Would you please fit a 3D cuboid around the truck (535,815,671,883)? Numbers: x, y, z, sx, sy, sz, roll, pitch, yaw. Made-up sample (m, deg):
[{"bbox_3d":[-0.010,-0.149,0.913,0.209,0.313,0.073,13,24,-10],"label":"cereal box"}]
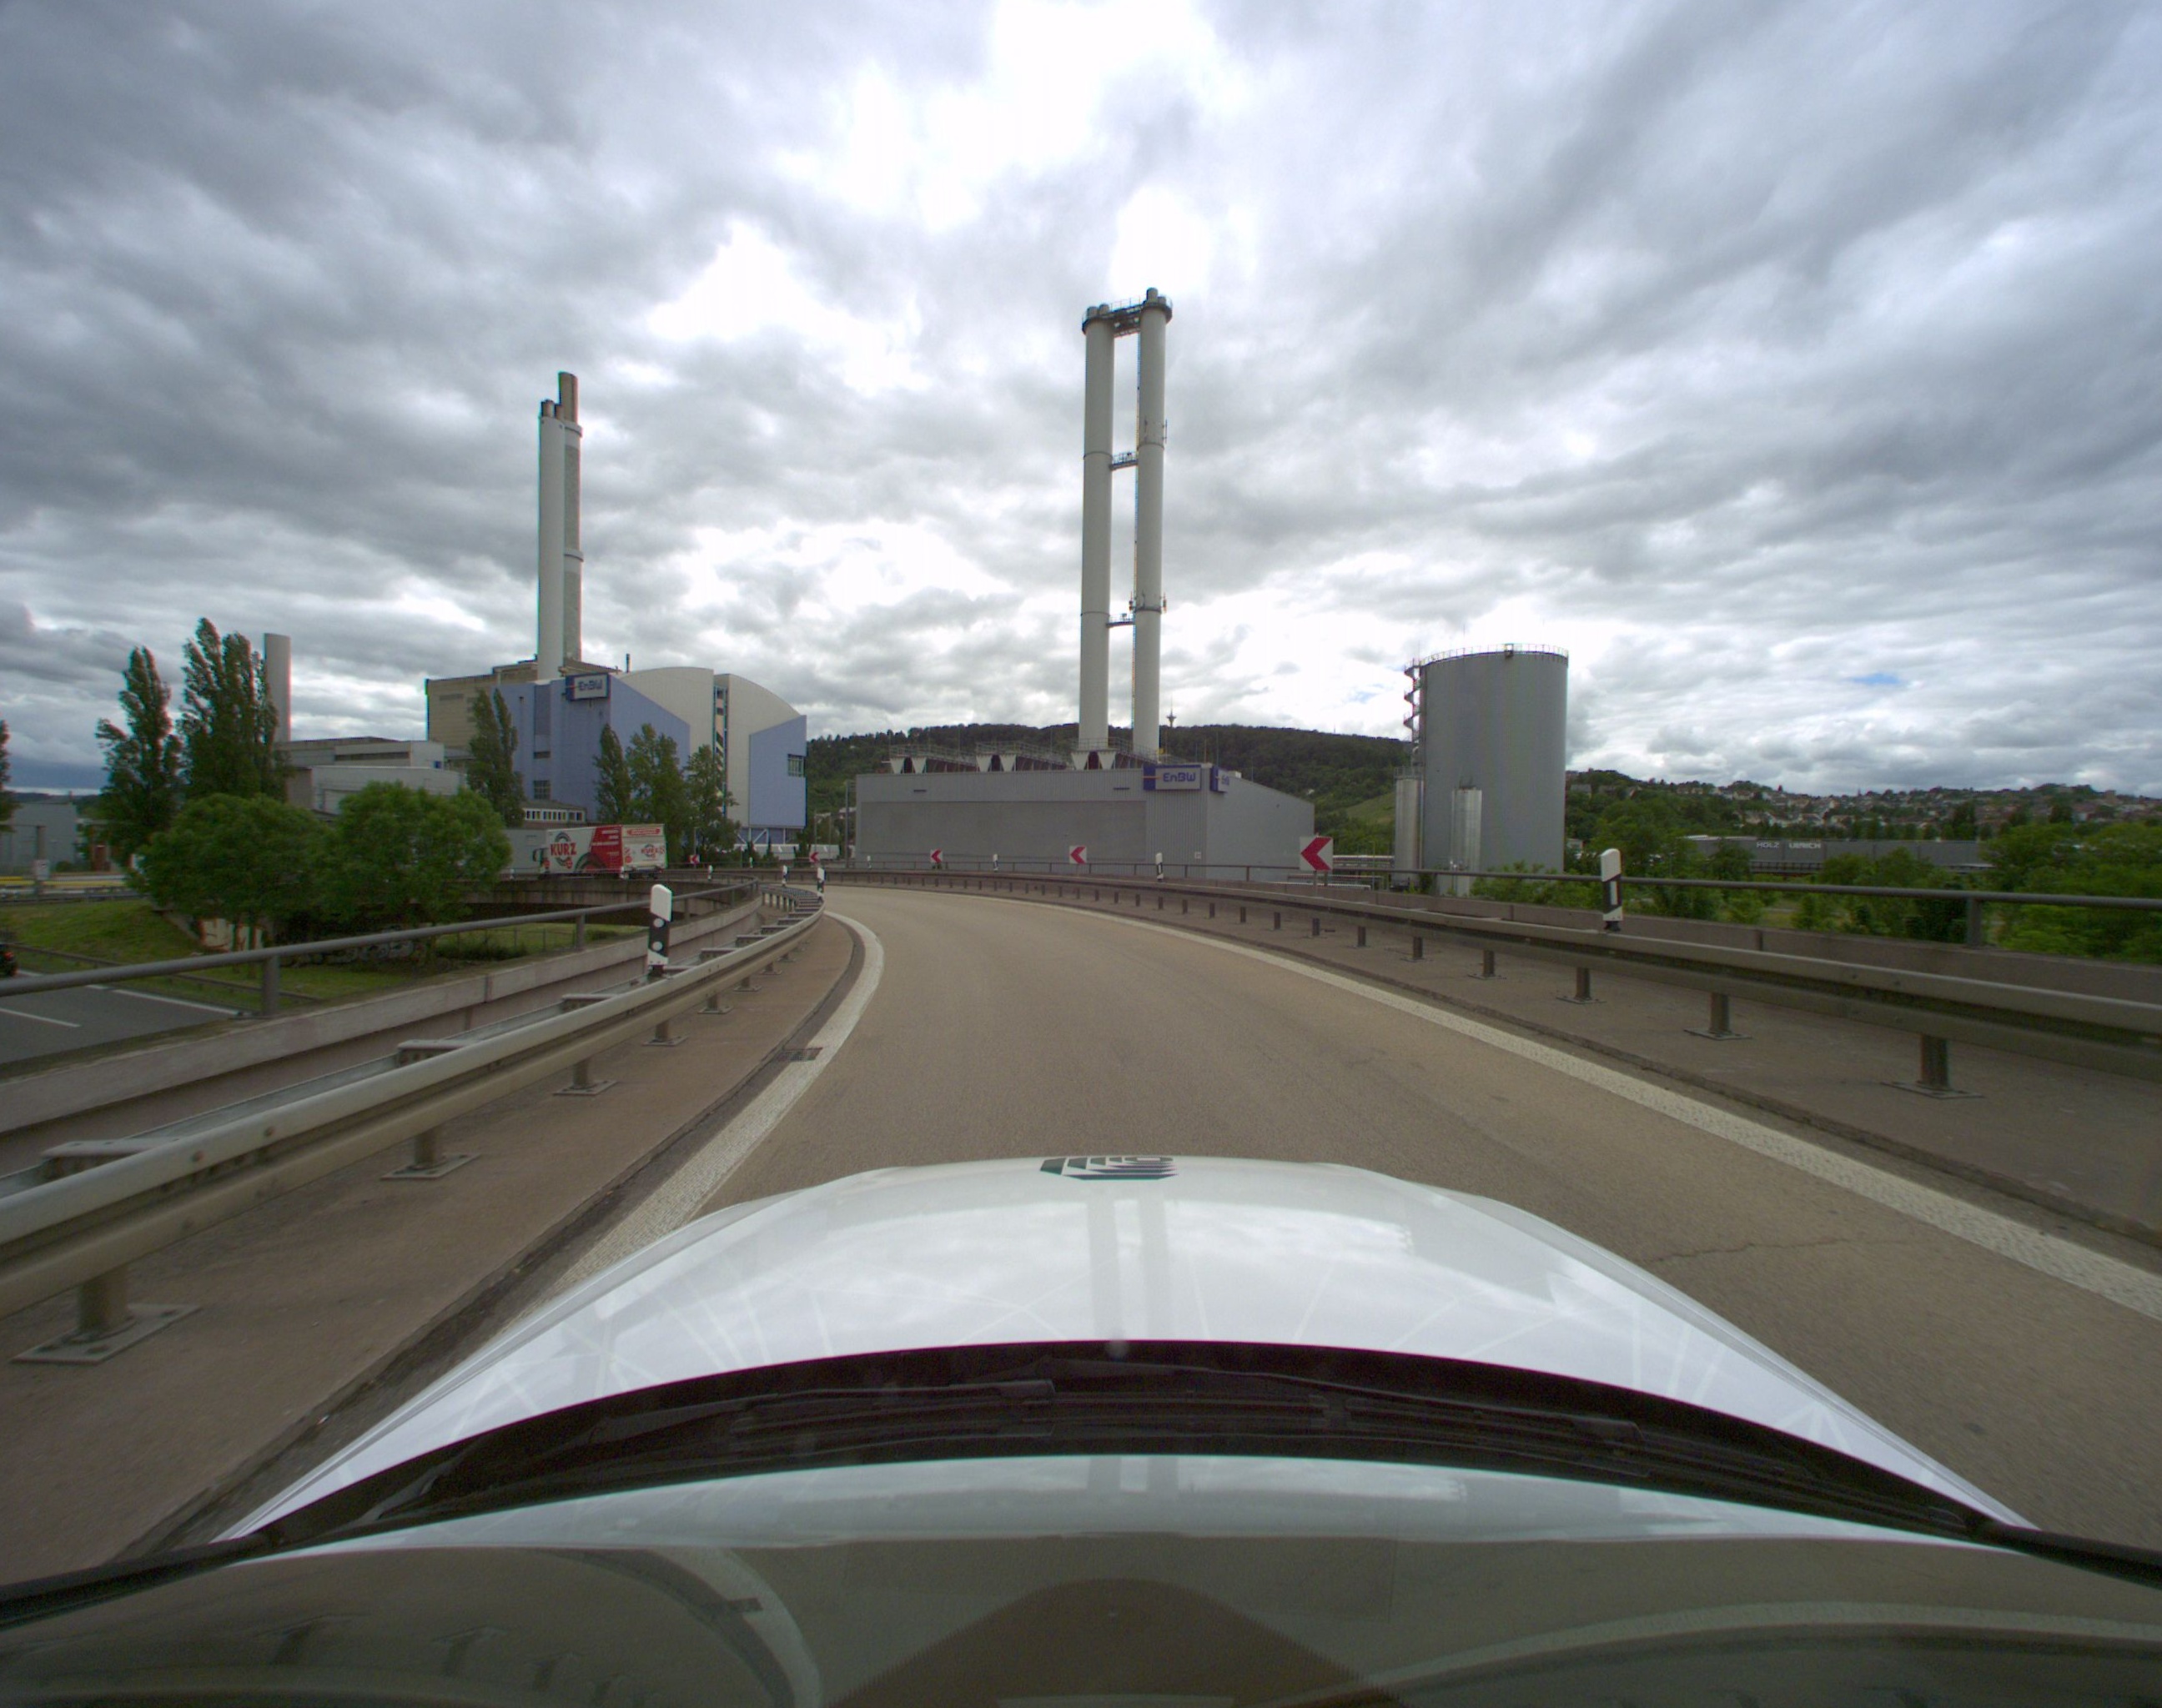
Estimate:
[{"bbox_3d":[-27.428,-0.272,46.690,7.827,3.673,3.079,0,0,28],"label":"truck"}]
